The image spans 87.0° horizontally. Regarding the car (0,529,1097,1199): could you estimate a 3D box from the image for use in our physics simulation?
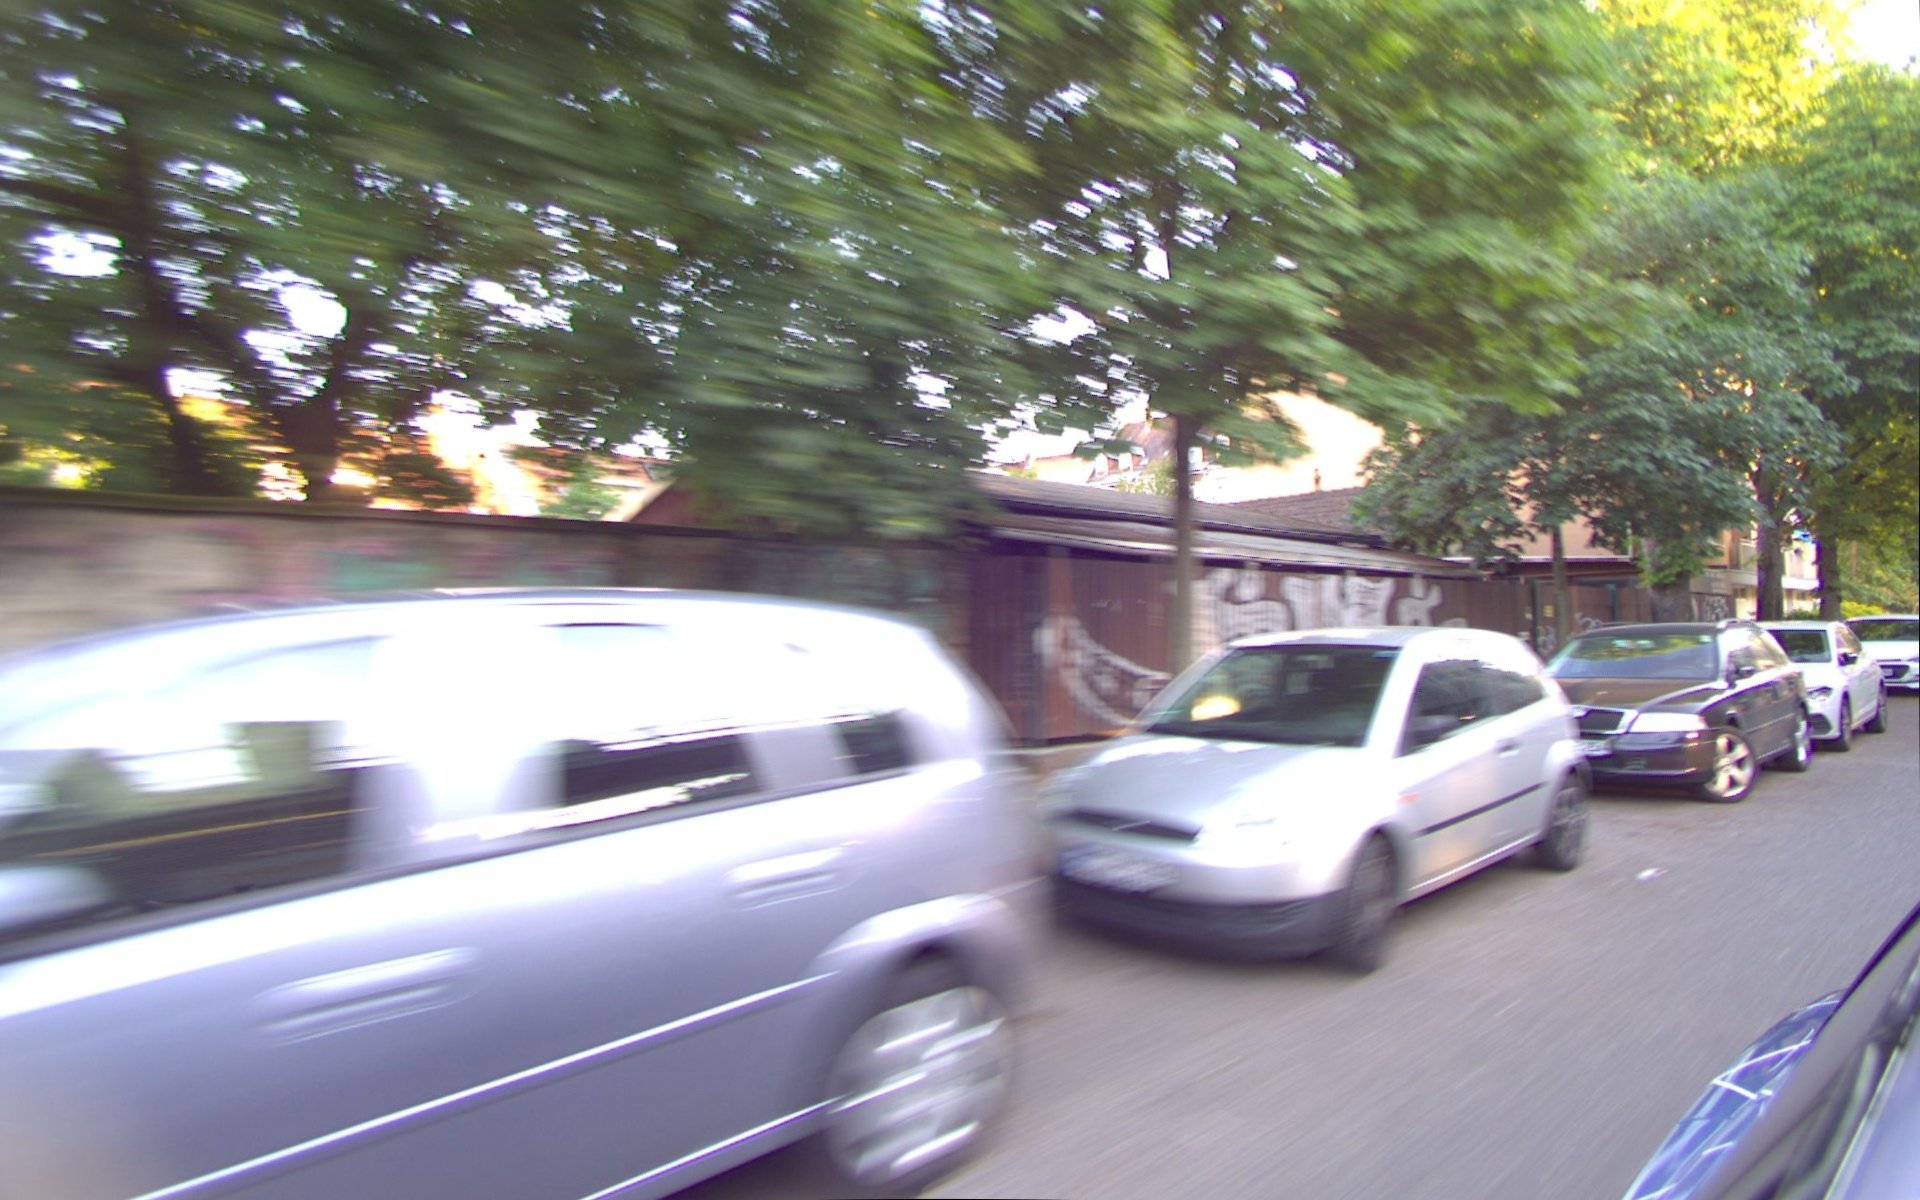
[{"bbox_3d":[-1.601,0.728,2.486,3.806,1.624,1.762,0,-2,-41],"label":"car"}]

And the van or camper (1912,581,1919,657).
[{"bbox_3d":[29.305,0.554,29.315,5.003,2.123,2.066,2,-3,-42],"label":"van or camper"}]

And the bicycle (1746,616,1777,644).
[{"bbox_3d":[27.724,1.043,34.998,1.803,0.933,0.524,1,-3,-42],"label":"bicycle"}]

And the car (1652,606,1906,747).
[{"bbox_3d":[10.185,0.854,12.496,3.935,1.461,1.762,1,-3,-41],"label":"car"}]

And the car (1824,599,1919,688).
[{"bbox_3d":[17.937,0.803,19.234,3.955,1.539,1.724,1,-3,-41],"label":"car"}]

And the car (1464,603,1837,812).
[{"bbox_3d":[6.458,0.825,9.269,4.315,1.473,1.762,1,-3,-41],"label":"car"}]

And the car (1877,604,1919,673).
[{"bbox_3d":[21.734,0.848,22.519,3.393,1.469,1.565,1,-3,-41],"label":"car"}]

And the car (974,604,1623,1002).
[{"bbox_3d":[2.071,0.800,5.663,3.805,1.460,1.762,1,-3,-41],"label":"car"}]
